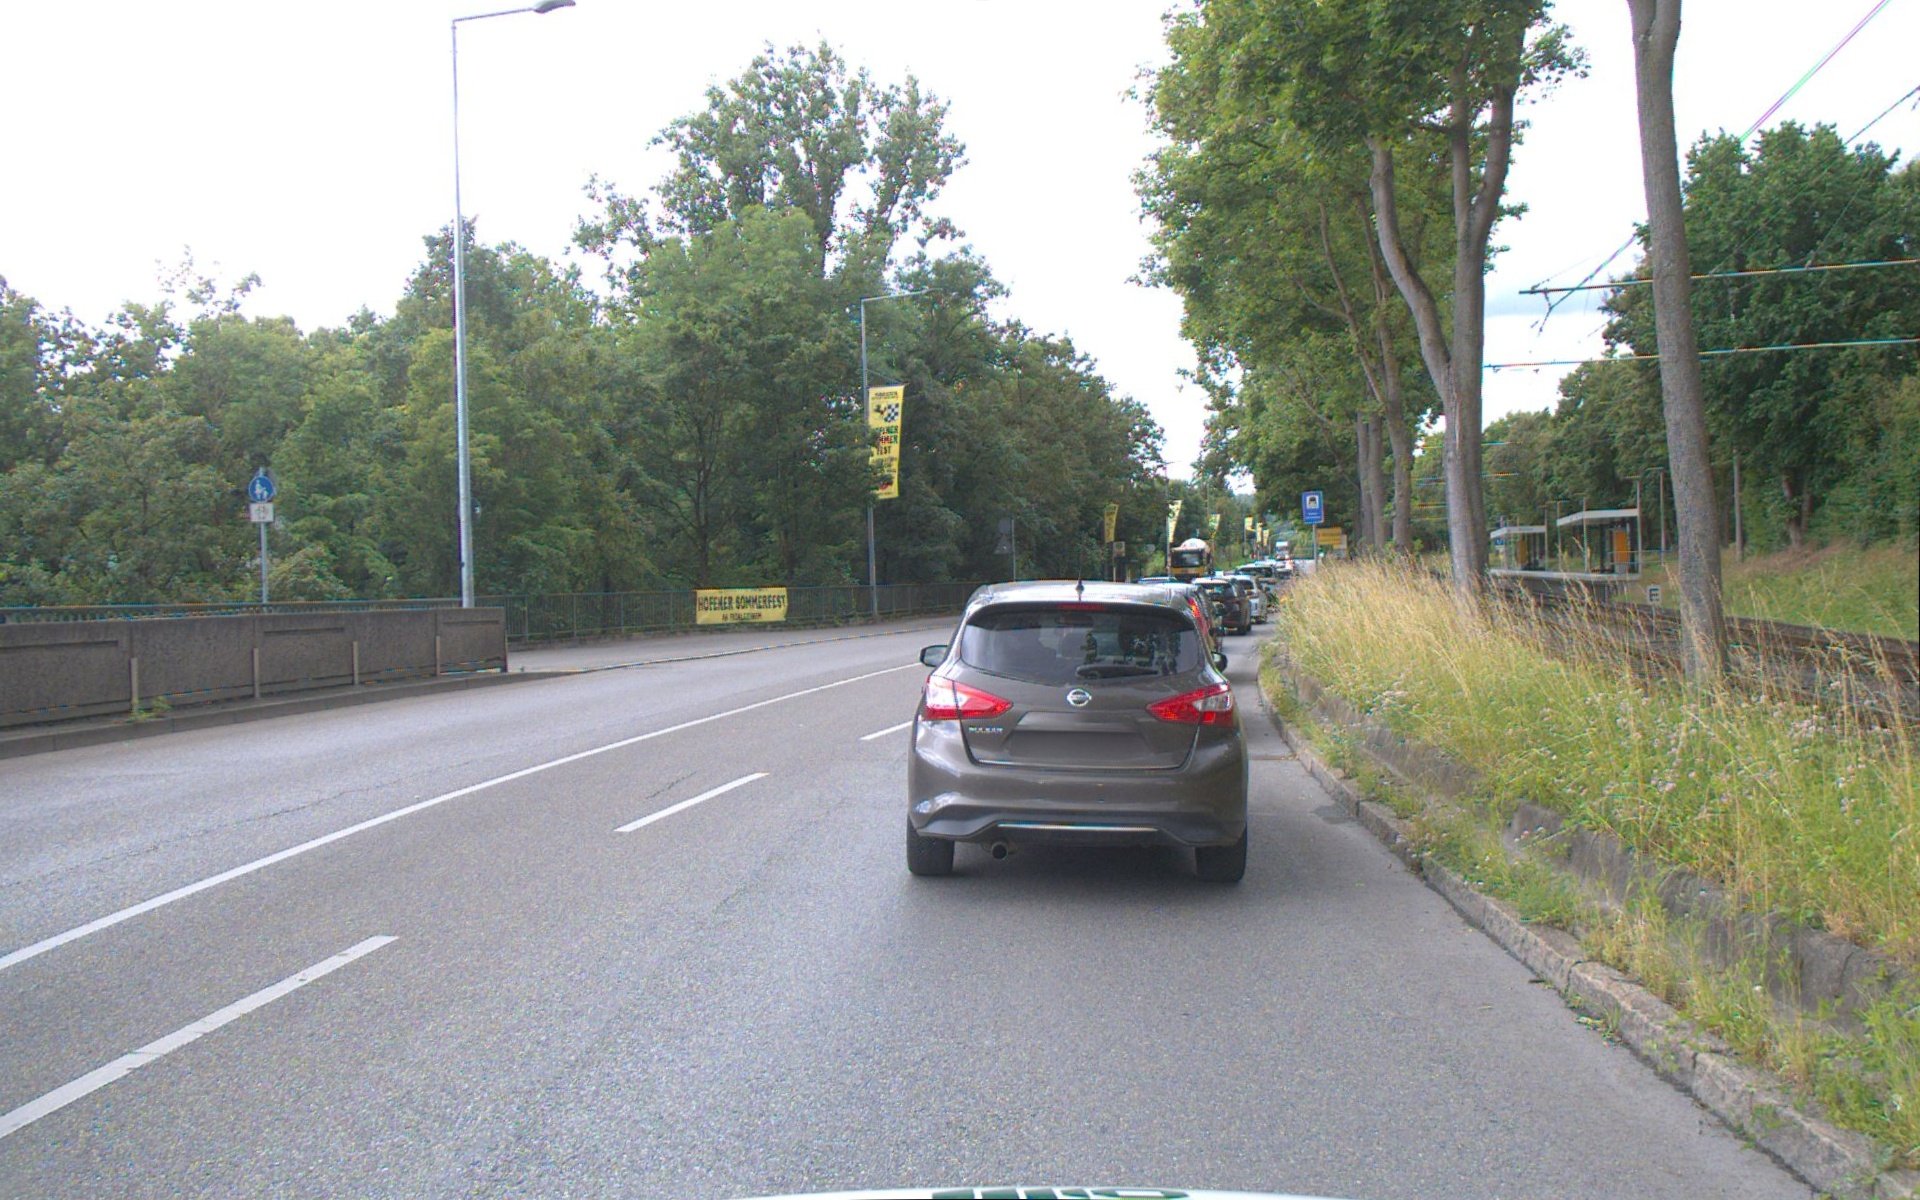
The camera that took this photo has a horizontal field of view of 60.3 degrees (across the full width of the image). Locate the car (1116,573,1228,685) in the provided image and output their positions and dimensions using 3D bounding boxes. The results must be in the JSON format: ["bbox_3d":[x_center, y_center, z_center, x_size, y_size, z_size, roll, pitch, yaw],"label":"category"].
[{"bbox_3d":[3.337,0.417,25.662,1.544,1.565,4.003,-2,0,9],"label":"car"}]

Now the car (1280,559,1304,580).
[{"bbox_3d":[27.917,-2.553,139.025,1.850,1.682,4.004,-1,0,13],"label":"car"}]

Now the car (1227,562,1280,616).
[{"bbox_3d":[11.732,-0.442,65.937,1.850,2.049,4.004,-1,0,13],"label":"car"}]

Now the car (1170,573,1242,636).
[{"bbox_3d":[6.496,0.113,43.609,1.766,1.567,4.003,1,0,9],"label":"car"}]

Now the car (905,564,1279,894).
[{"bbox_3d":[0.762,0.614,9.744,1.737,1.520,4.002,0,0,4],"label":"car"}]

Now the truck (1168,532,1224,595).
[{"bbox_3d":[15.844,-2.378,110.621,2.598,4.007,10.119,0,1,14],"label":"truck"}]

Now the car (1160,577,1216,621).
[{"bbox_3d":[8.442,-0.017,60.933,1.812,1.512,4.424,-1,-1,11],"label":"car"}]

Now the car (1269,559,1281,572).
[{"bbox_3d":[45.833,-4.975,240.556,1.681,1.723,3.728,-2,-2,12],"label":"car"}]

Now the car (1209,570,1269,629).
[{"bbox_3d":[8.842,0.016,52.297,1.681,1.723,4.003,-2,-2,12],"label":"car"}]

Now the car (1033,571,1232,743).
[{"bbox_3d":[1.813,0.555,17.549,1.853,1.601,4.002,0,-1,6],"label":"car"}]

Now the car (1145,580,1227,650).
[{"bbox_3d":[4.907,0.304,35.640,1.468,1.388,3.590,-2,0,12],"label":"car"}]

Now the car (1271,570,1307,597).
[{"bbox_3d":[18.488,-0.921,92.976,1.850,1.470,3.810,-1,0,13],"label":"car"}]

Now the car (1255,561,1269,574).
[{"bbox_3d":[38.229,-4.126,209.381,1.715,1.445,4.003,-2,-2,11],"label":"car"}]
